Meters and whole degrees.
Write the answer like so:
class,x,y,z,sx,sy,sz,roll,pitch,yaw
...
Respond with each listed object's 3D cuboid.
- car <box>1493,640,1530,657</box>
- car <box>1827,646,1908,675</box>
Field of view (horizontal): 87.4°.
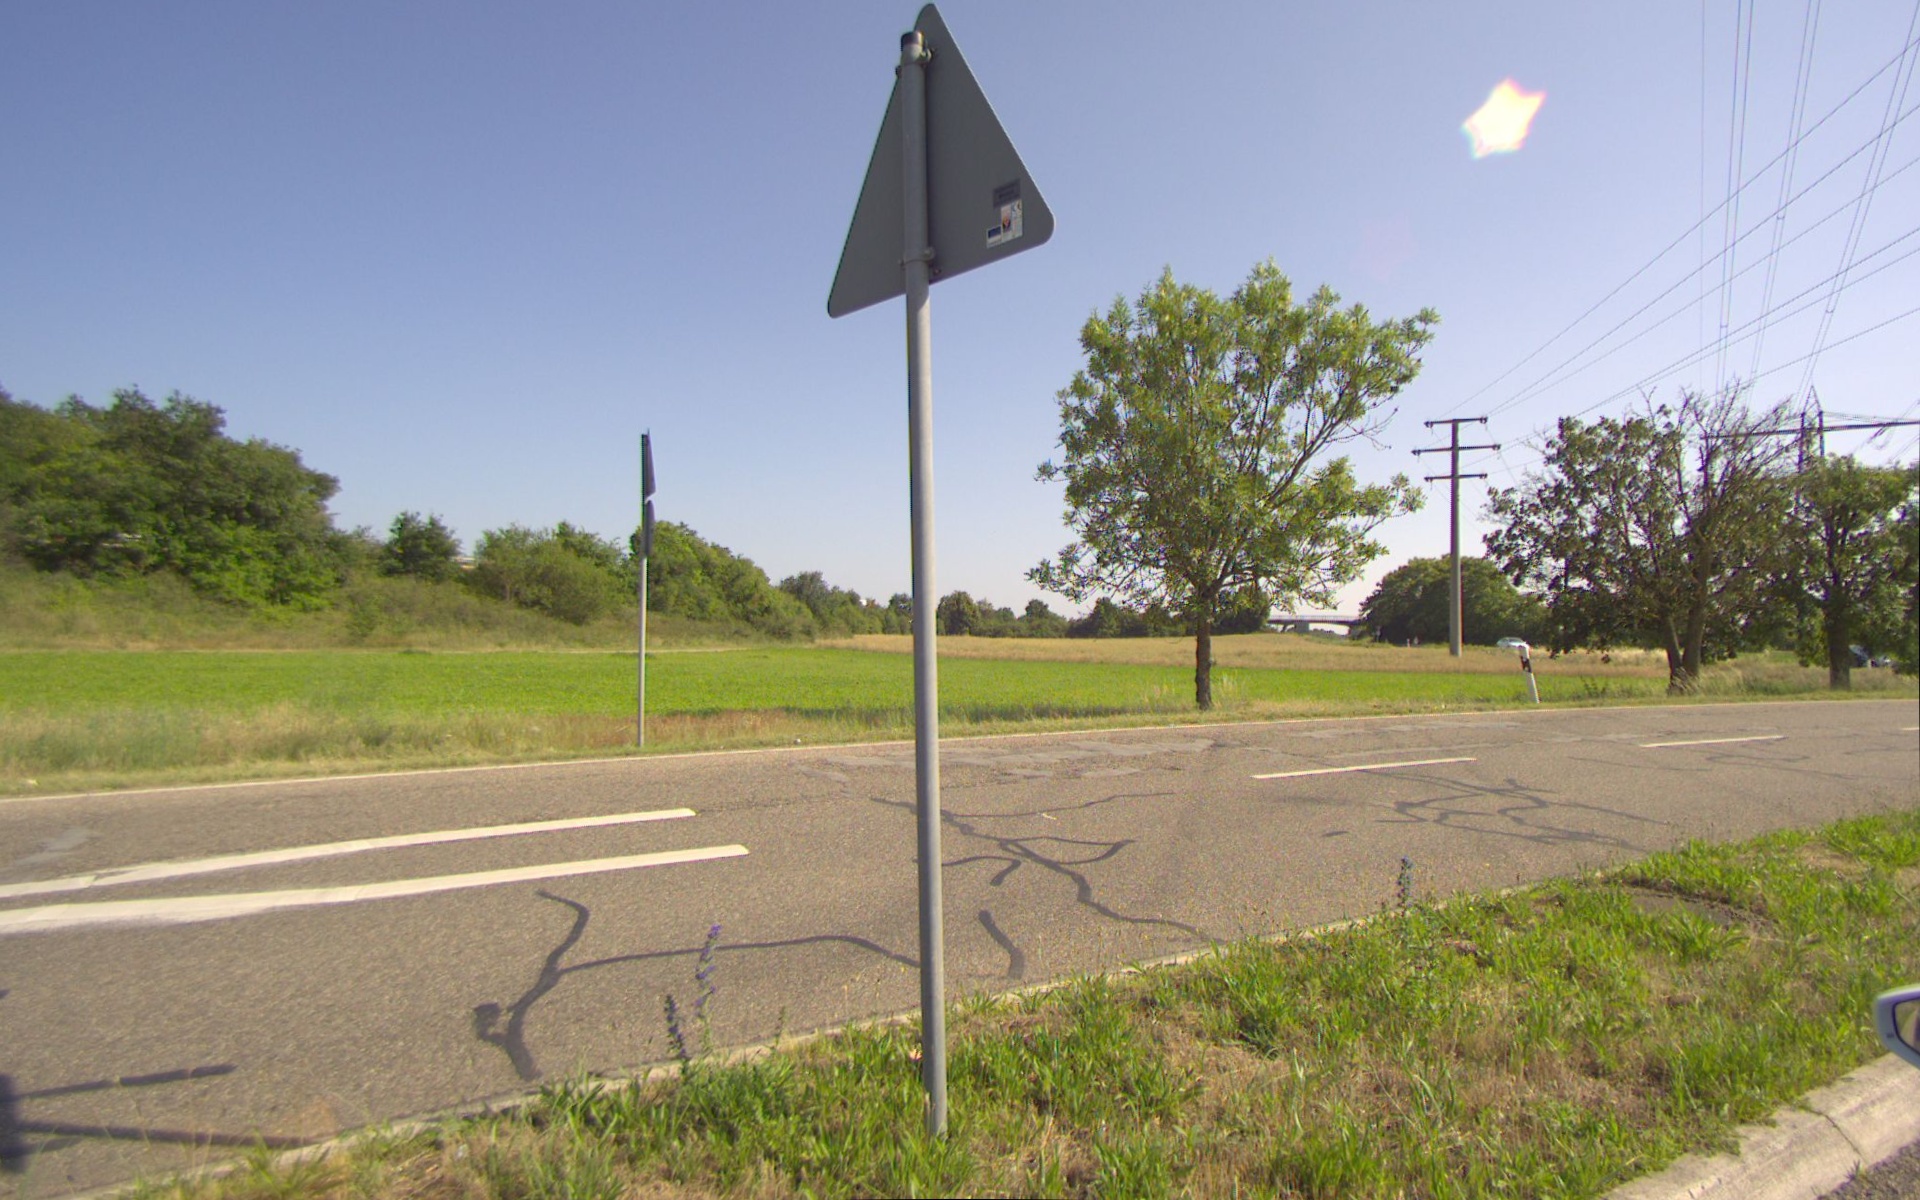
class,x,y,z,sx,sy,sz,roll,pitch,yaw
car,58.064,5.099,105.820,1.783,1.673,4.764,1,-1,7
car,57.189,3.794,63.403,1.783,1.673,4.003,1,-2,7
